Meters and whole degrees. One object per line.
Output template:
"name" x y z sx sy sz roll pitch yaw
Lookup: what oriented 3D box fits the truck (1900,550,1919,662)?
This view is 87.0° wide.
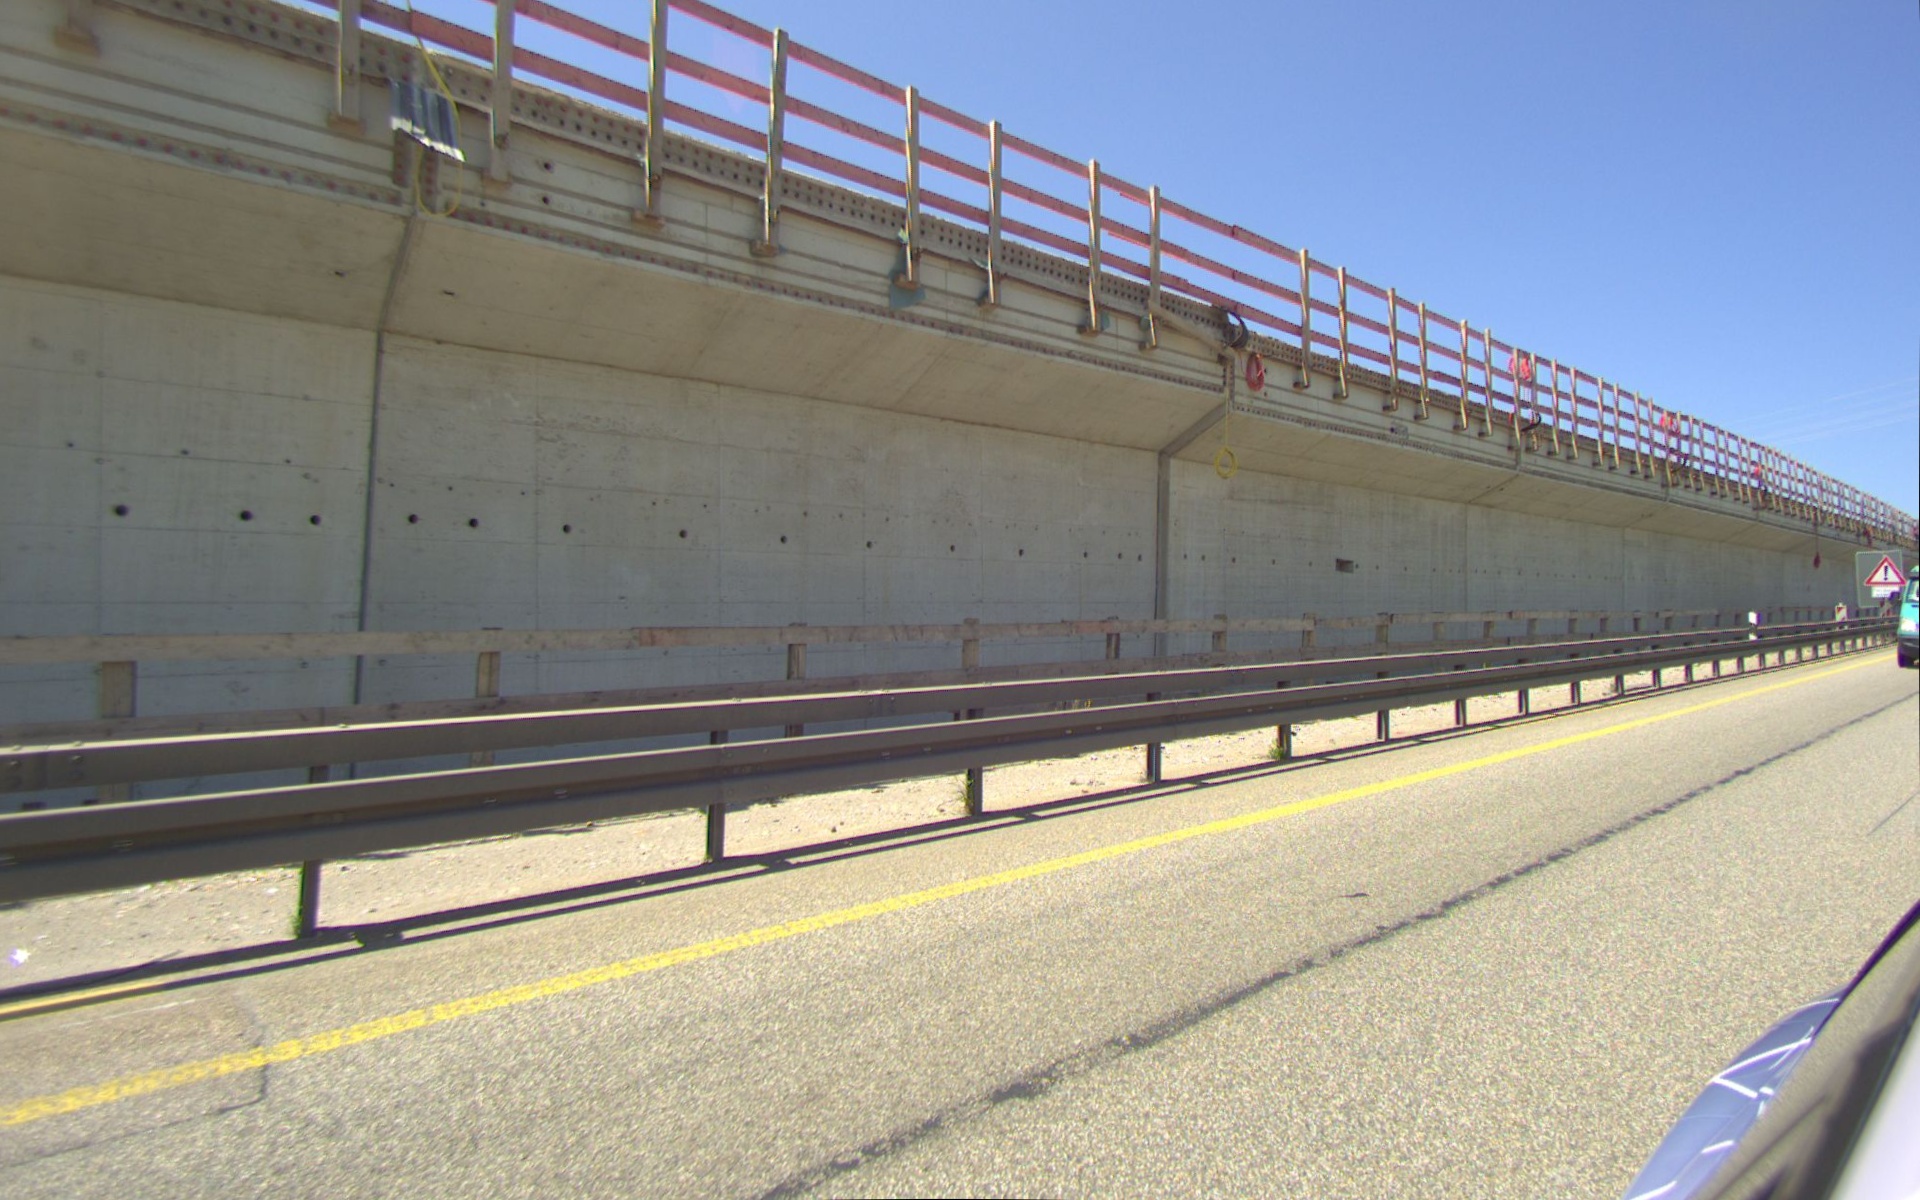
"truck" 23.707 0.089 23.306 7.302 2.387 2.138 -1 0 -40
